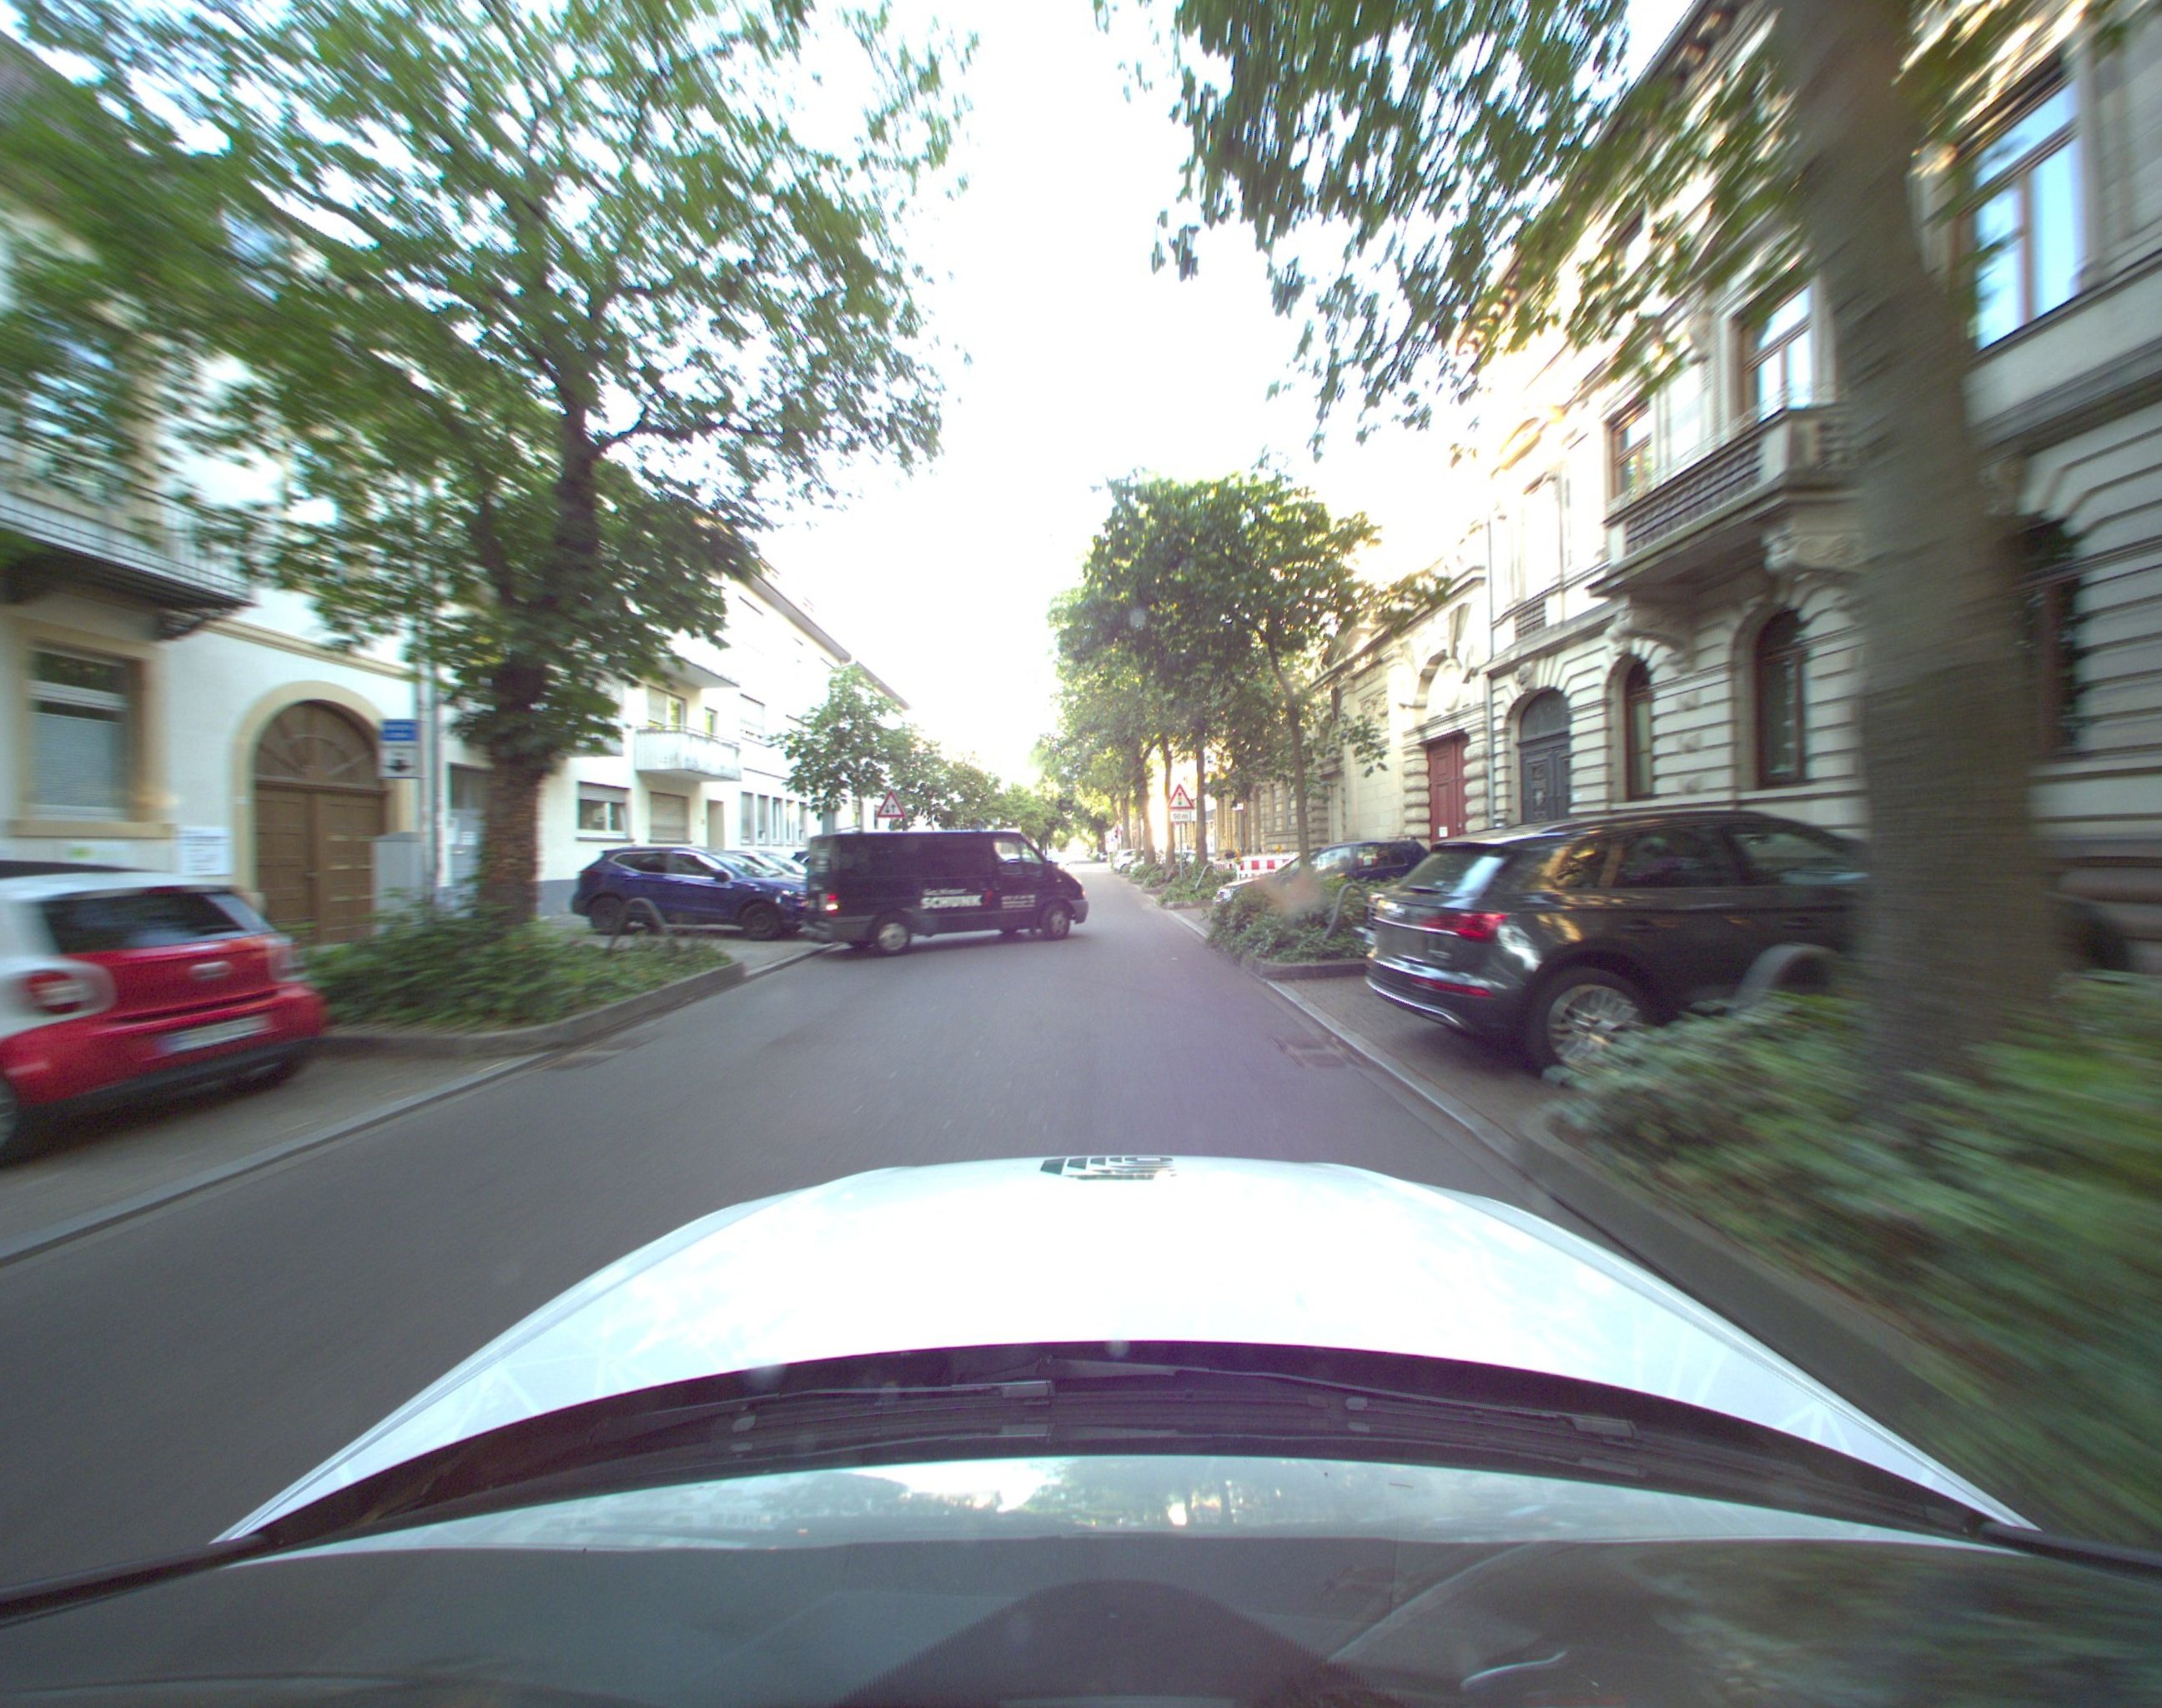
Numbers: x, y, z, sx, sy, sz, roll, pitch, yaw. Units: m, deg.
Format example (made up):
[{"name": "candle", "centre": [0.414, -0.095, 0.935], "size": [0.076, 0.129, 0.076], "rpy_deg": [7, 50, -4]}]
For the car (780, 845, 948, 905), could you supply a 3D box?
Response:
[{"name": "car", "centre": [-6.654, 0.614, 25.390], "size": [4.652, 1.765, 2.156], "rpy_deg": [0, 0, -1]}]

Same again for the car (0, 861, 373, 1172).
[{"name": "car", "centre": [-7.342, 0.815, 5.001], "size": [4.340, 1.539, 1.771], "rpy_deg": [1, -1, -1]}]

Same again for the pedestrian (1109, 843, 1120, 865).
[{"name": "pedestrian", "centre": [3.346, -0.003, 80.956], "size": [1.040, 2.146, 1.063], "rpy_deg": [0, -1, 0]}]

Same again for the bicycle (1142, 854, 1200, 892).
[{"name": "bicycle", "centre": [3.265, 0.674, 29.483], "size": [2.041, 1.360, 0.508], "rpy_deg": [0, 0, -3]}]

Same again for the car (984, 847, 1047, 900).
[{"name": "car", "centre": [-2.229, 0.630, 28.722], "size": [1.871, 1.640, 4.644], "rpy_deg": [-2, 0, -1]}]

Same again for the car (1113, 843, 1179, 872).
[{"name": "car", "centre": [4.651, 0.246, 58.849], "size": [4.529, 1.914, 1.948], "rpy_deg": [-2, 0, -3]}]

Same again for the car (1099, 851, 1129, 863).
[{"name": "car", "centre": [4.716, 0.411, 117.425], "size": [4.179, 1.480, 1.852], "rpy_deg": [-3, 0, -1]}]

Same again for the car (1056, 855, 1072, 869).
[{"name": "car", "centre": [-2.055, 0.940, 97.565], "size": [1.871, 1.549, 4.273], "rpy_deg": [-2, 0, -1]}]

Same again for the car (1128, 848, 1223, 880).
[{"name": "car", "centre": [4.709, 0.482, 40.961], "size": [4.566, 1.437, 1.926], "rpy_deg": [-2, 0, 1]}]

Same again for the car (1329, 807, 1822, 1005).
[{"name": "car", "centre": [4.836, 0.465, 8.386], "size": [3.995, 1.687, 1.765], "rpy_deg": [-2, 0, -1]}]

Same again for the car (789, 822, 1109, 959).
[{"name": "car", "centre": [-2.204, 0.490, 14.140], "size": [5.024, 1.990, 2.168], "rpy_deg": [-2, 1, -32]}]

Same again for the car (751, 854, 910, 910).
[{"name": "car", "centre": [-6.894, 0.762, 22.751], "size": [3.833, 1.450, 1.854], "rpy_deg": [0, 1, -1]}]

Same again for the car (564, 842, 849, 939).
[{"name": "car", "centre": [-6.788, 0.639, 15.156], "size": [4.340, 1.573, 1.930], "rpy_deg": [1, 0, 0]}]

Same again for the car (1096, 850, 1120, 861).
[{"name": "car", "centre": [4.542, 0.224, 138.255], "size": [4.003, 1.623, 1.779], "rpy_deg": [-2, 0, -2]}]

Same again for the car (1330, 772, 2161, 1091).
[{"name": "car", "centre": [4.347, 0.470, 5.905], "size": [4.426, 1.717, 1.968], "rpy_deg": [-3, -1, -1]}]

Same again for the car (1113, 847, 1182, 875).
[{"name": "car", "centre": [4.159, 0.428, 51.232], "size": [4.207, 1.560, 1.972], "rpy_deg": [-2, 1, 3]}]

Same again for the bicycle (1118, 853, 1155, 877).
[{"name": "bicycle", "centre": [3.183, 0.617, 46.517], "size": [2.021, 1.204, 0.486], "rpy_deg": [-3, 0, -13]}]

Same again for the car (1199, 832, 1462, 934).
[{"name": "car", "centre": [4.435, 0.497, 14.968], "size": [4.211, 1.481, 1.854], "rpy_deg": [-4, 0, -1]}]

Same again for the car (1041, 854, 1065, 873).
[{"name": "car", "centre": [-2.373, 0.821, 70.756], "size": [1.871, 1.549, 4.274], "rpy_deg": [-2, 0, 0]}]
